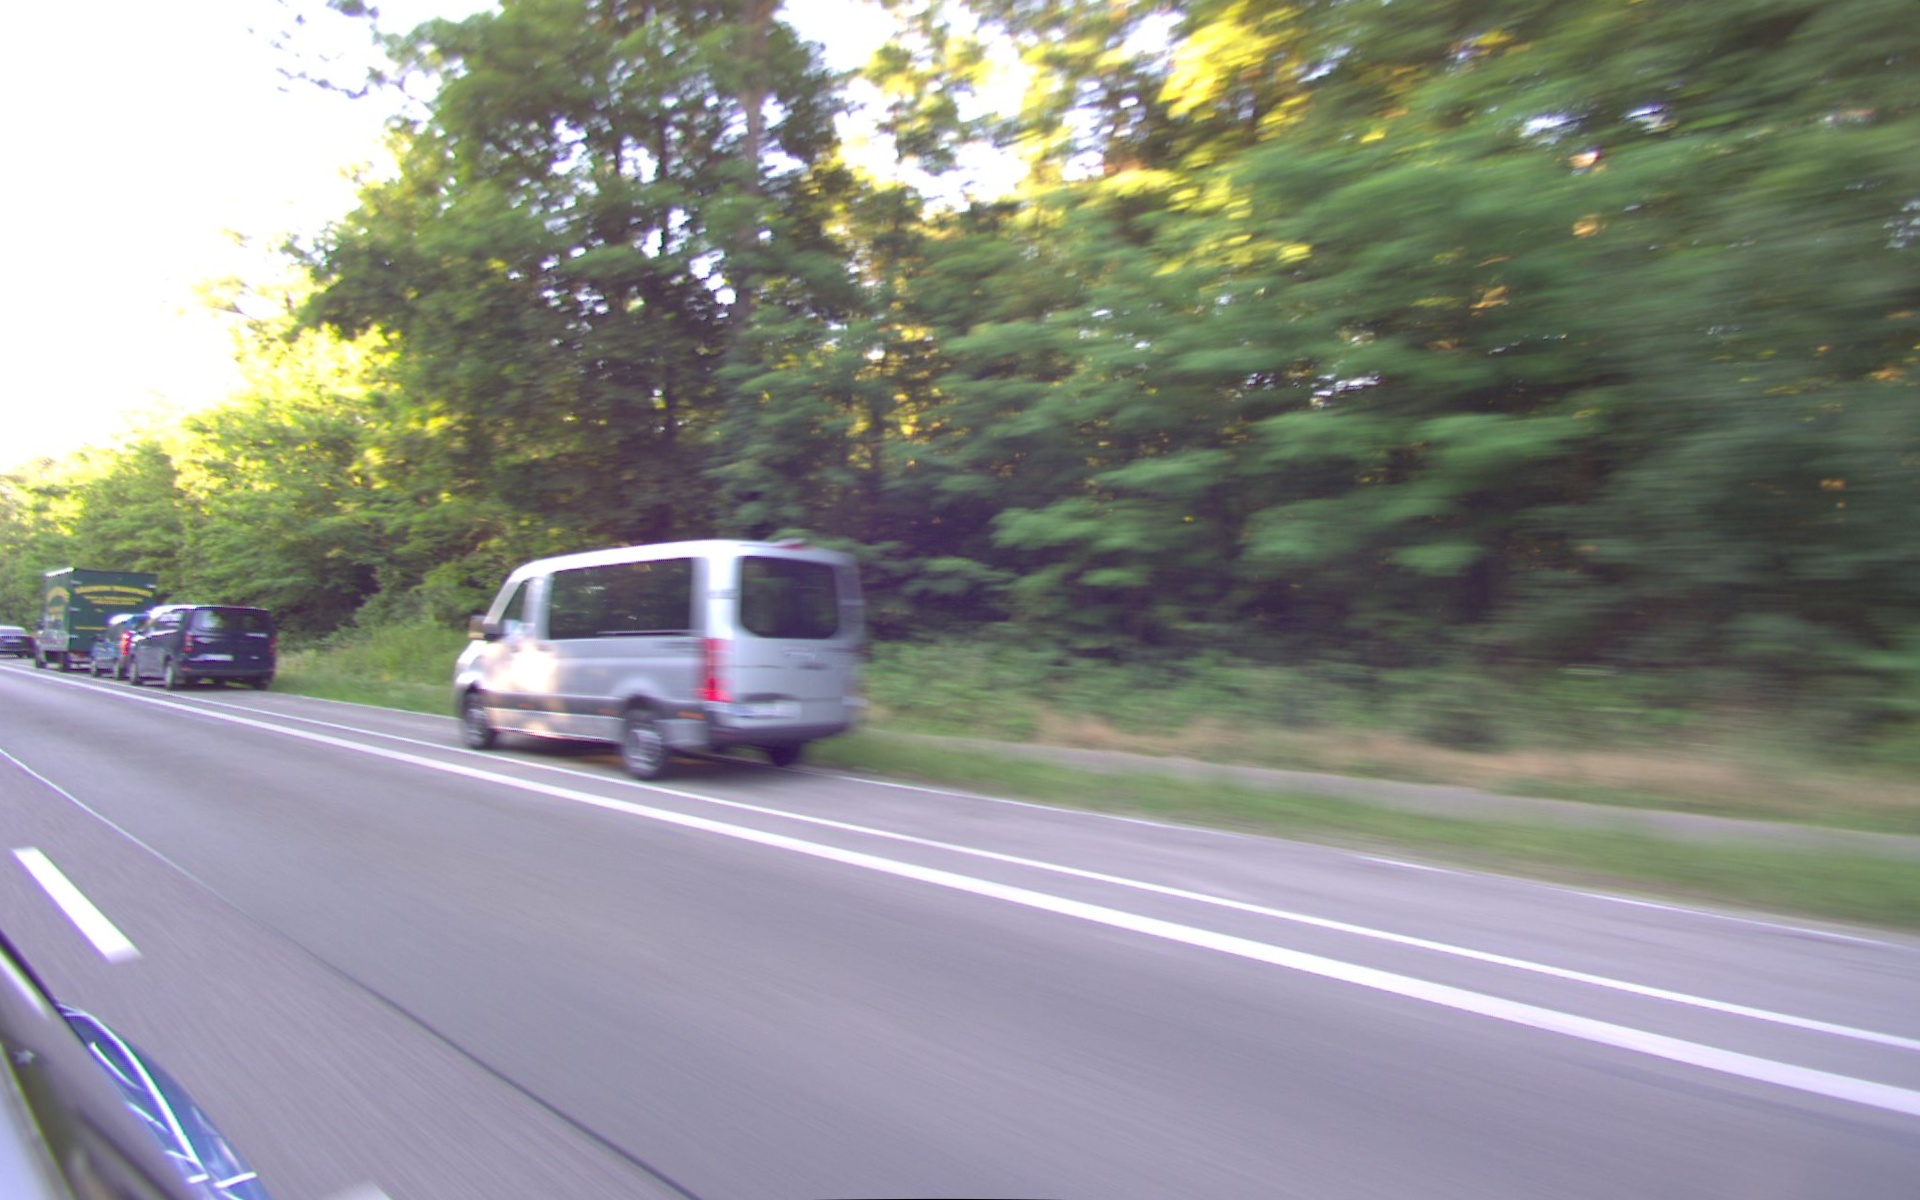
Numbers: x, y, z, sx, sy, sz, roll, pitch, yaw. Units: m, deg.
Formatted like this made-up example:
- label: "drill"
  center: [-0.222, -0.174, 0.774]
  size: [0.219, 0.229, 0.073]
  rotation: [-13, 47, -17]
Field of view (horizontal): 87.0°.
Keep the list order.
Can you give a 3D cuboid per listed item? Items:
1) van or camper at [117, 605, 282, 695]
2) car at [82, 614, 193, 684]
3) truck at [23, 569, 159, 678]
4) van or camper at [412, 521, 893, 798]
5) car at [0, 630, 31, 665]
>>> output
- label: "van or camper"
  center: [-18.492, 1.217, 24.544]
  size: [4.687, 1.971, 2.009]
  rotation: [-1, -5, 39]
- label: "car"
  center: [-23.180, 1.382, 28.491]
  size: [3.754, 1.841, 1.587]
  rotation: [-1, -5, 39]
- label: "truck"
  center: [-28.573, 0.829, 33.207]
  size: [6.266, 3.232, 2.198]
  rotation: [-1, -5, 40]
- label: "van or camper"
  center: [-3.826, 0.626, 11.666]
  size: [6.376, 2.409, 2.089]
  rotation: [-1, -4, 40]
- label: "car"
  center: [-43.700, 2.157, 46.163]
  size: [3.760, 1.515, 1.585]
  rotation: [-2, -5, 44]
